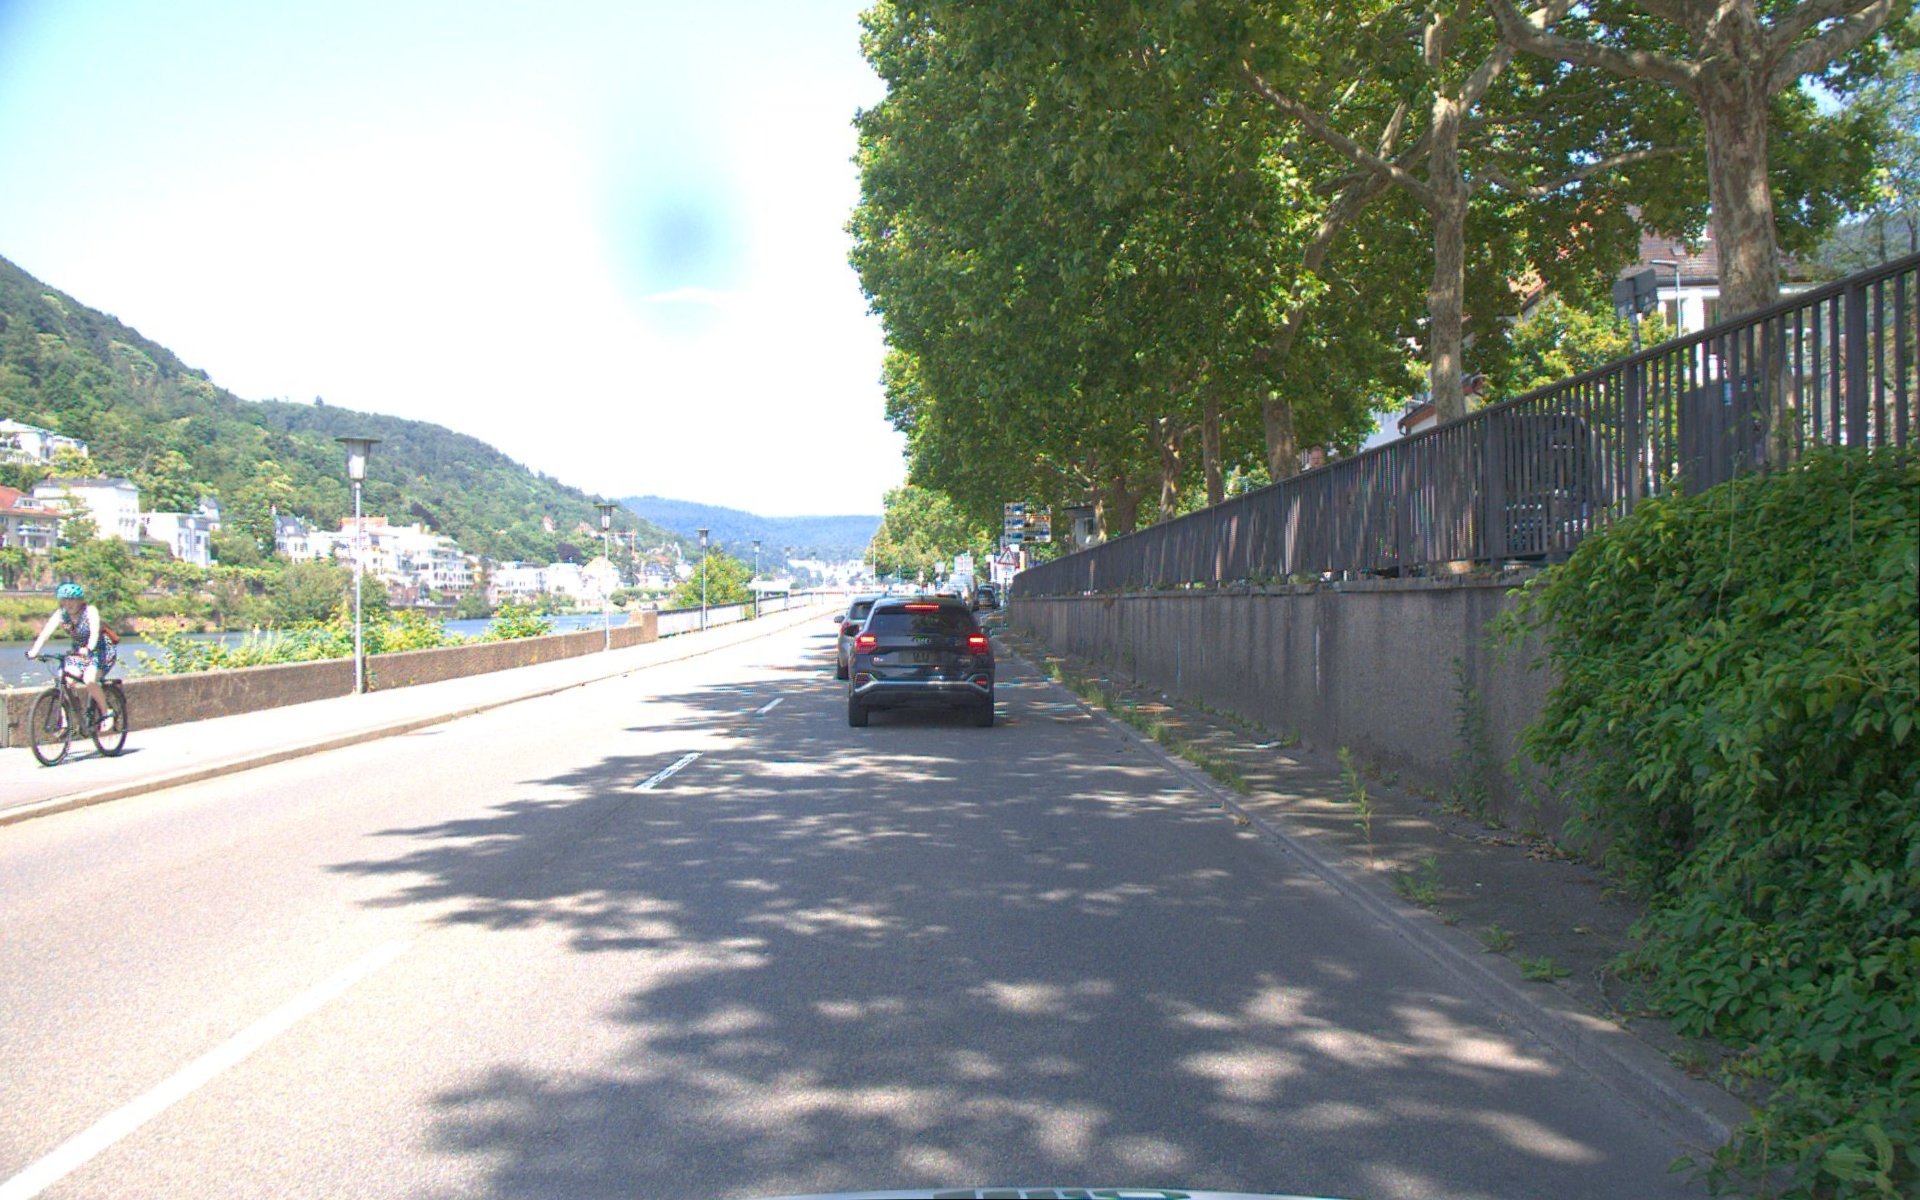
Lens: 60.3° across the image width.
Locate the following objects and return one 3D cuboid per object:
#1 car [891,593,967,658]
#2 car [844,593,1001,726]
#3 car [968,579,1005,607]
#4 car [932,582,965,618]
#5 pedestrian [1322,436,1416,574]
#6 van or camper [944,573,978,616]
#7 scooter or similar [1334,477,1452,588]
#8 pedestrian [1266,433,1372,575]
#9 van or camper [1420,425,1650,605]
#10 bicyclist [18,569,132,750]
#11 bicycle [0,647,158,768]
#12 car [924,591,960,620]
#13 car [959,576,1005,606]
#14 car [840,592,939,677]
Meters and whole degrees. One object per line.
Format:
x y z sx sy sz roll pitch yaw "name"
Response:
-0.784 0.593 40.672 1.791 1.512 3.998 0 0 -2 "car"
-0.490 0.670 20.909 1.791 1.512 3.998 0 0 -2 "car"
2.130 -0.573 133.906 2.608 2.048 5.822 -4 0 -2 "car"
-0.744 -0.026 105.688 1.953 2.207 3.998 -1 0 -2 "car"
4.397 -1.003 17.834 0.667 1.389 0.989 -4 0 -2 "pedestrian"
0.063 -0.404 114.768 2.262 2.897 4.245 -1 0 0 "van or camper"
4.443 -0.680 17.056 0.838 1.044 1.107 -4 0 -2 "scooter or similar"
4.317 -1.136 19.970 0.918 1.607 1.027 -4 0 -3 "pedestrian"
9.123 -1.142 25.692 2.293 2.222 7.346 1 -1 28 "van or camper"
-8.590 0.562 16.084 0.624 1.703 0.871 -1 0 -2 "bicyclist"
-8.578 1.010 16.098 0.620 1.029 1.985 -1 0 -2 "bicycle"
-0.949 0.252 84.843 1.791 1.470 3.998 0 0 -2 "car"
1.622 -0.689 125.030 3.036 2.048 5.822 -4 0 -2 "car"
-1.345 0.608 31.943 1.791 1.537 3.998 0 0 -2 "car"
